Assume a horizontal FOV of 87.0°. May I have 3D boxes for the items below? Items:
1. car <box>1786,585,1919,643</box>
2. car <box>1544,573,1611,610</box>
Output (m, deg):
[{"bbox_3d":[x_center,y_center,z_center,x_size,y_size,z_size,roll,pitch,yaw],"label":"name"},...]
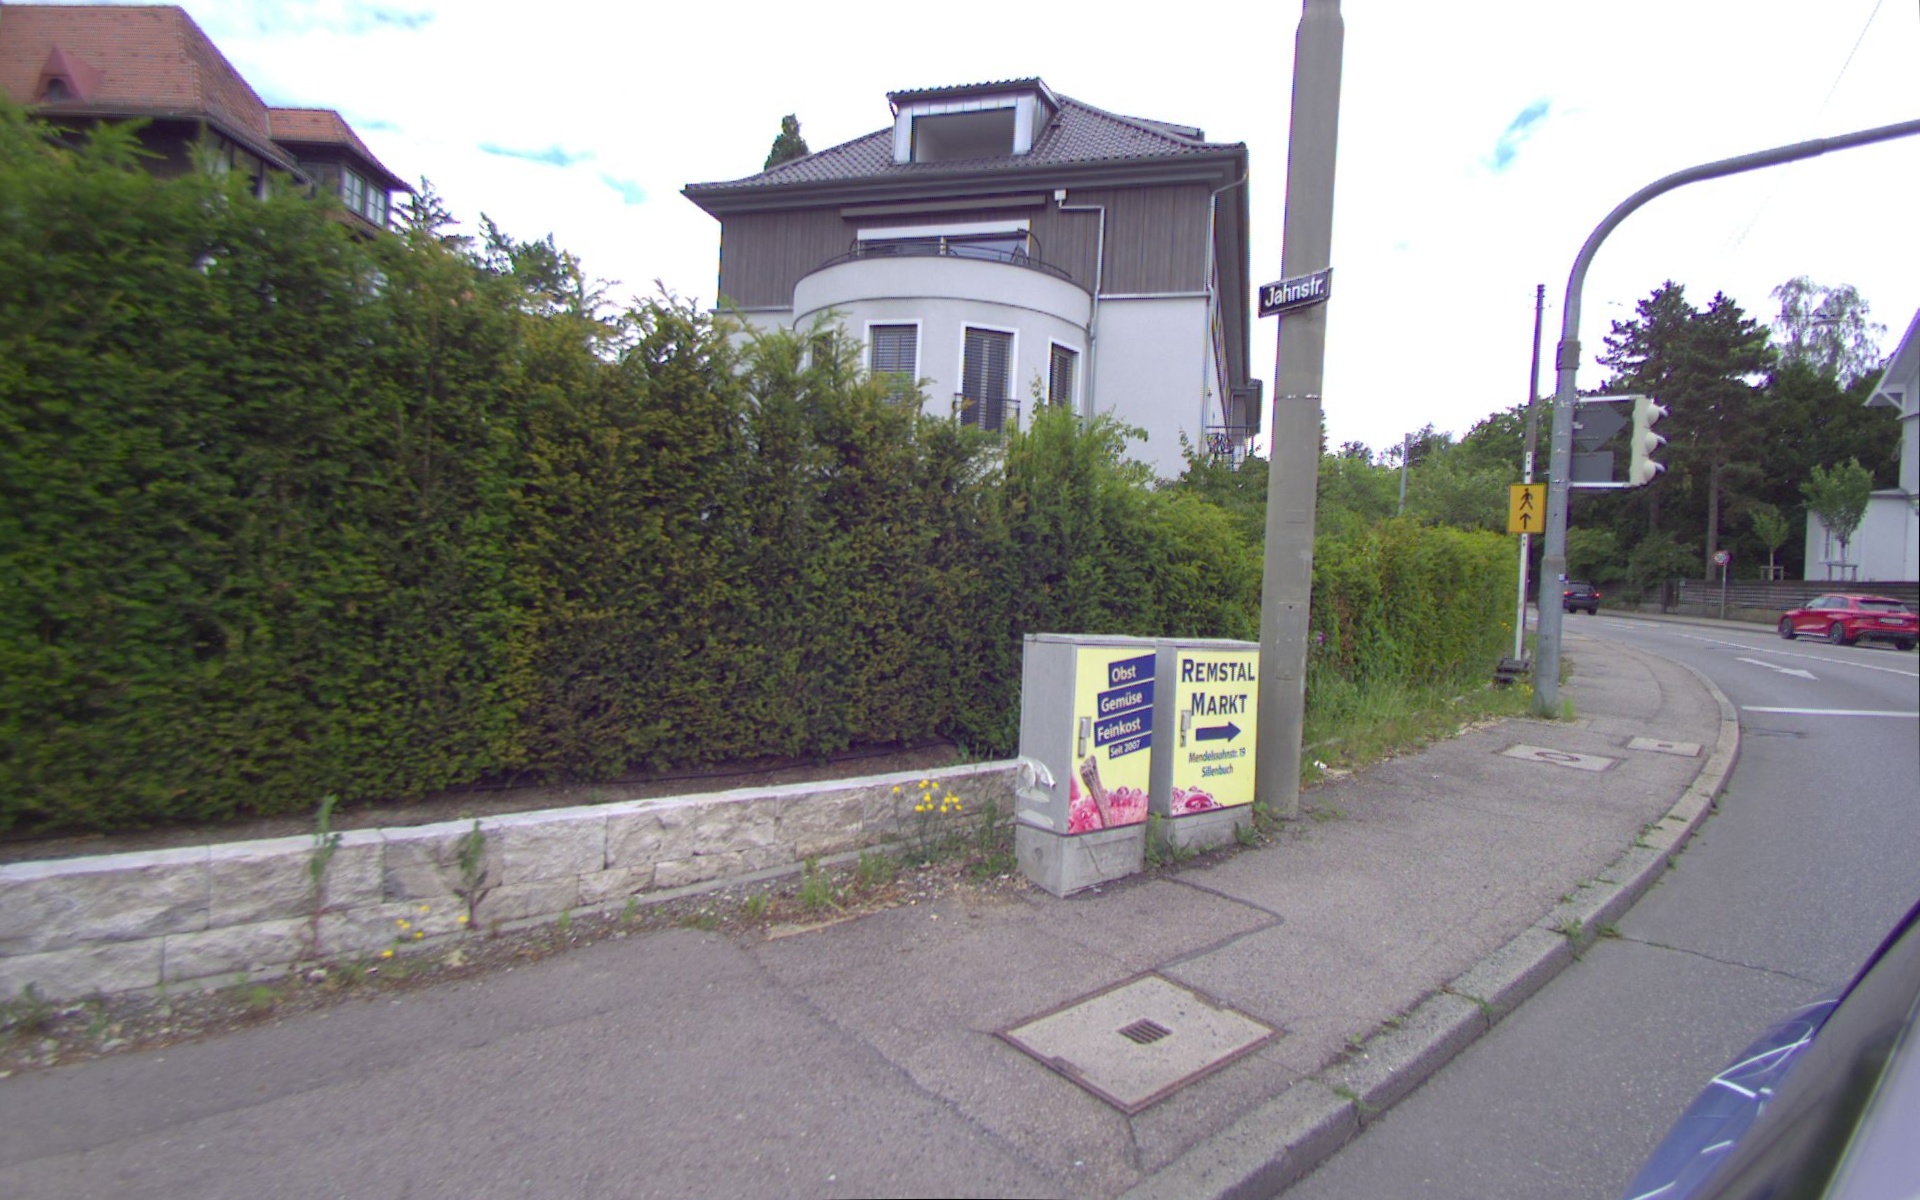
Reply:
[{"bbox_3d":[25.211,0.348,28.230,1.783,1.372,3.981,4,3,15],"label":"car"},{"bbox_3d":[31.333,-0.470,51.448,1.905,1.700,3.554,4,2,15],"label":"car"}]
